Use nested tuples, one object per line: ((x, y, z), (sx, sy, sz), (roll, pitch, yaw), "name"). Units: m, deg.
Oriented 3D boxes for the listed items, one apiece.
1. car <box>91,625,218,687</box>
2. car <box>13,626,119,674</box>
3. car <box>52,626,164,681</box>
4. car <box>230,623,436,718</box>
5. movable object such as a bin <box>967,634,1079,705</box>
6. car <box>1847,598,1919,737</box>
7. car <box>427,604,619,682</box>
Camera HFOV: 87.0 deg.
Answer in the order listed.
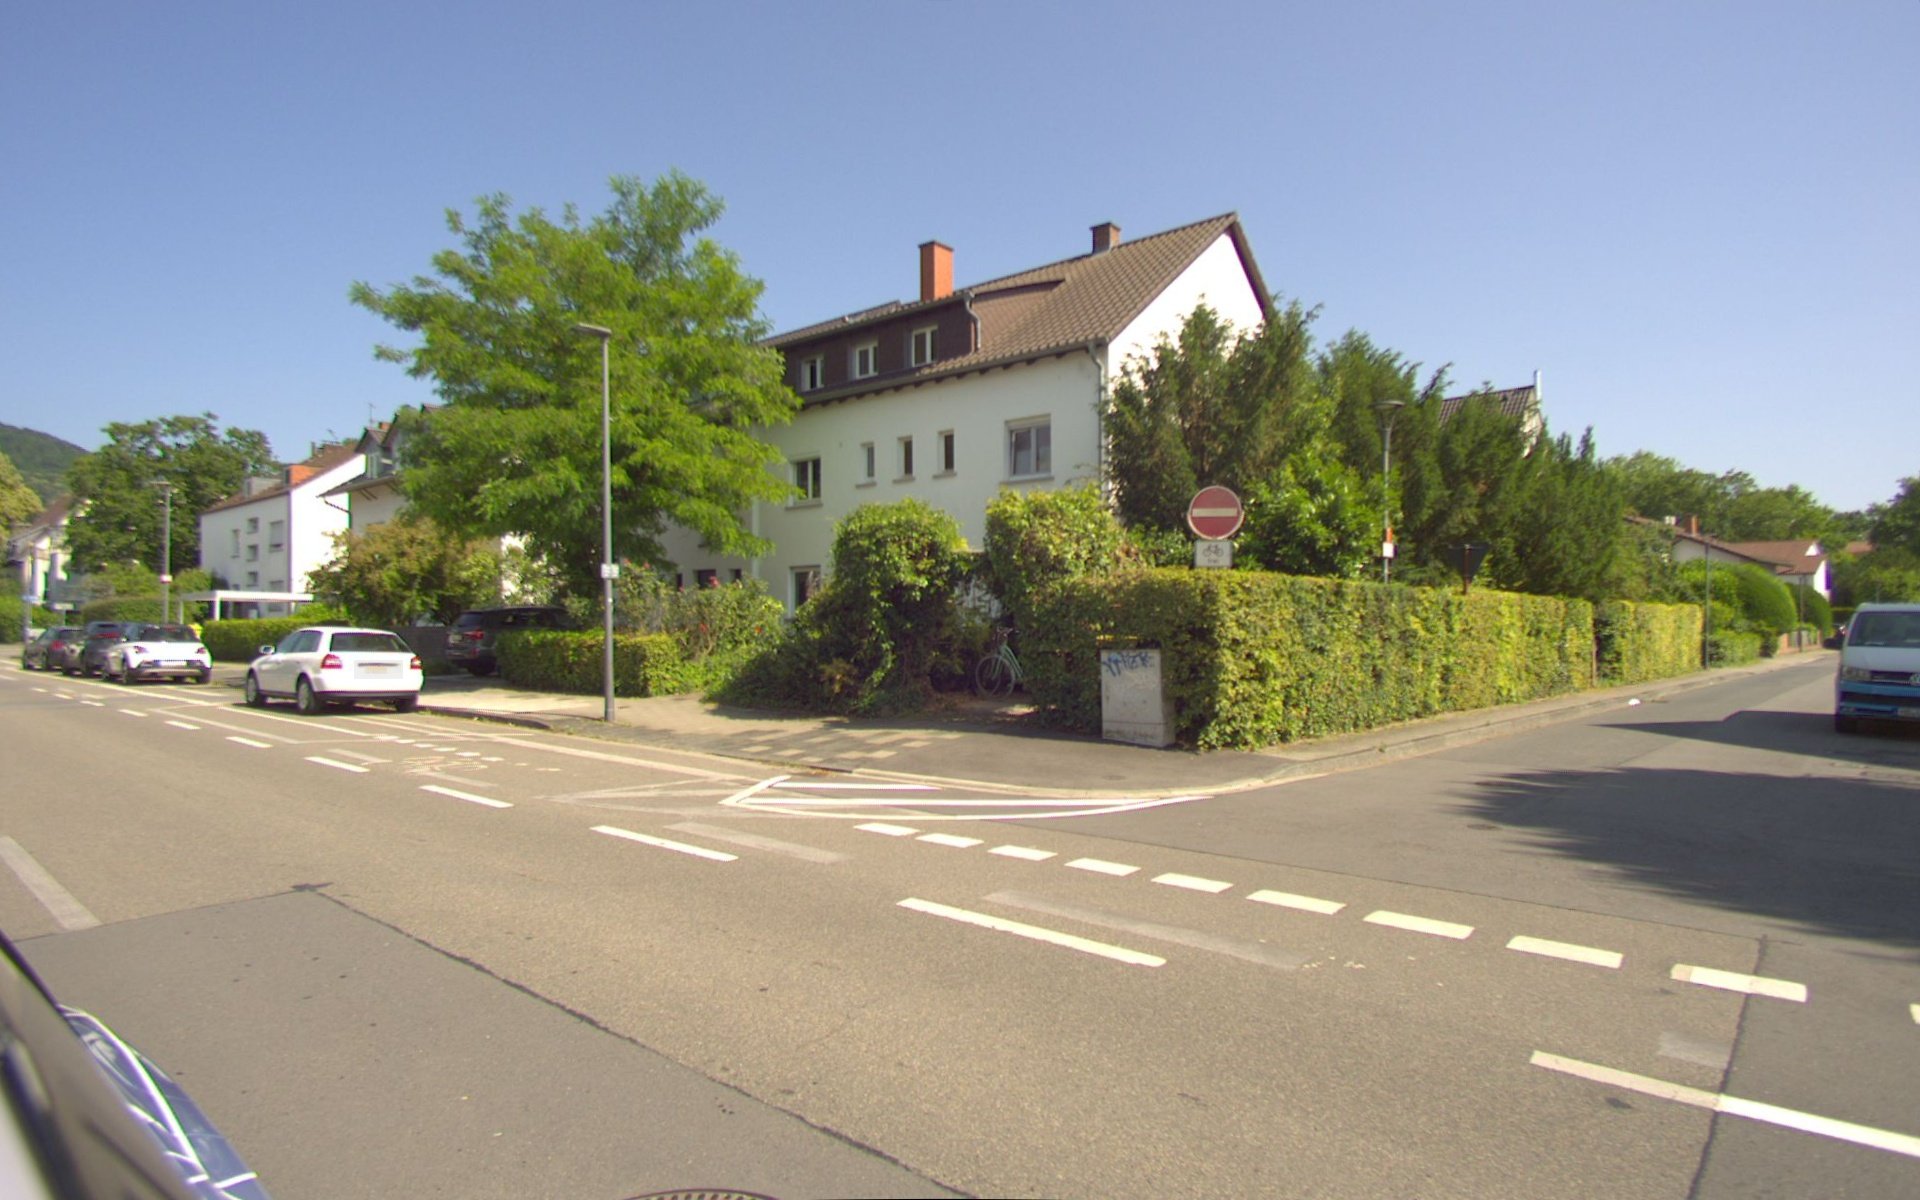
((-20.502, 1.384, 25.696), (3.997, 1.451, 1.767), (-1, -3, 41), "car")
((-28.722, 1.576, 32.485), (4.148, 1.451, 1.768), (-1, -3, 38), "car")
((-23.983, 1.458, 28.452), (4.108, 1.451, 1.766), (-1, -3, 41), "car")
((-10.961, 1.156, 17.609), (3.995, 1.451, 1.768), (-1, -3, 38), "car")
((0.919, 1.019, 15.223), (1.875, 0.998, 0.315), (-1, -1, 41), "movable object such as a bin")
((14.777, 0.943, 15.364), (1.910, 1.903, 4.465), (-1, -1, 42), "car")
((-10.838, 1.011, 25.273), (1.998, 1.773, 3.946), (-2, -1, 40), "car")
